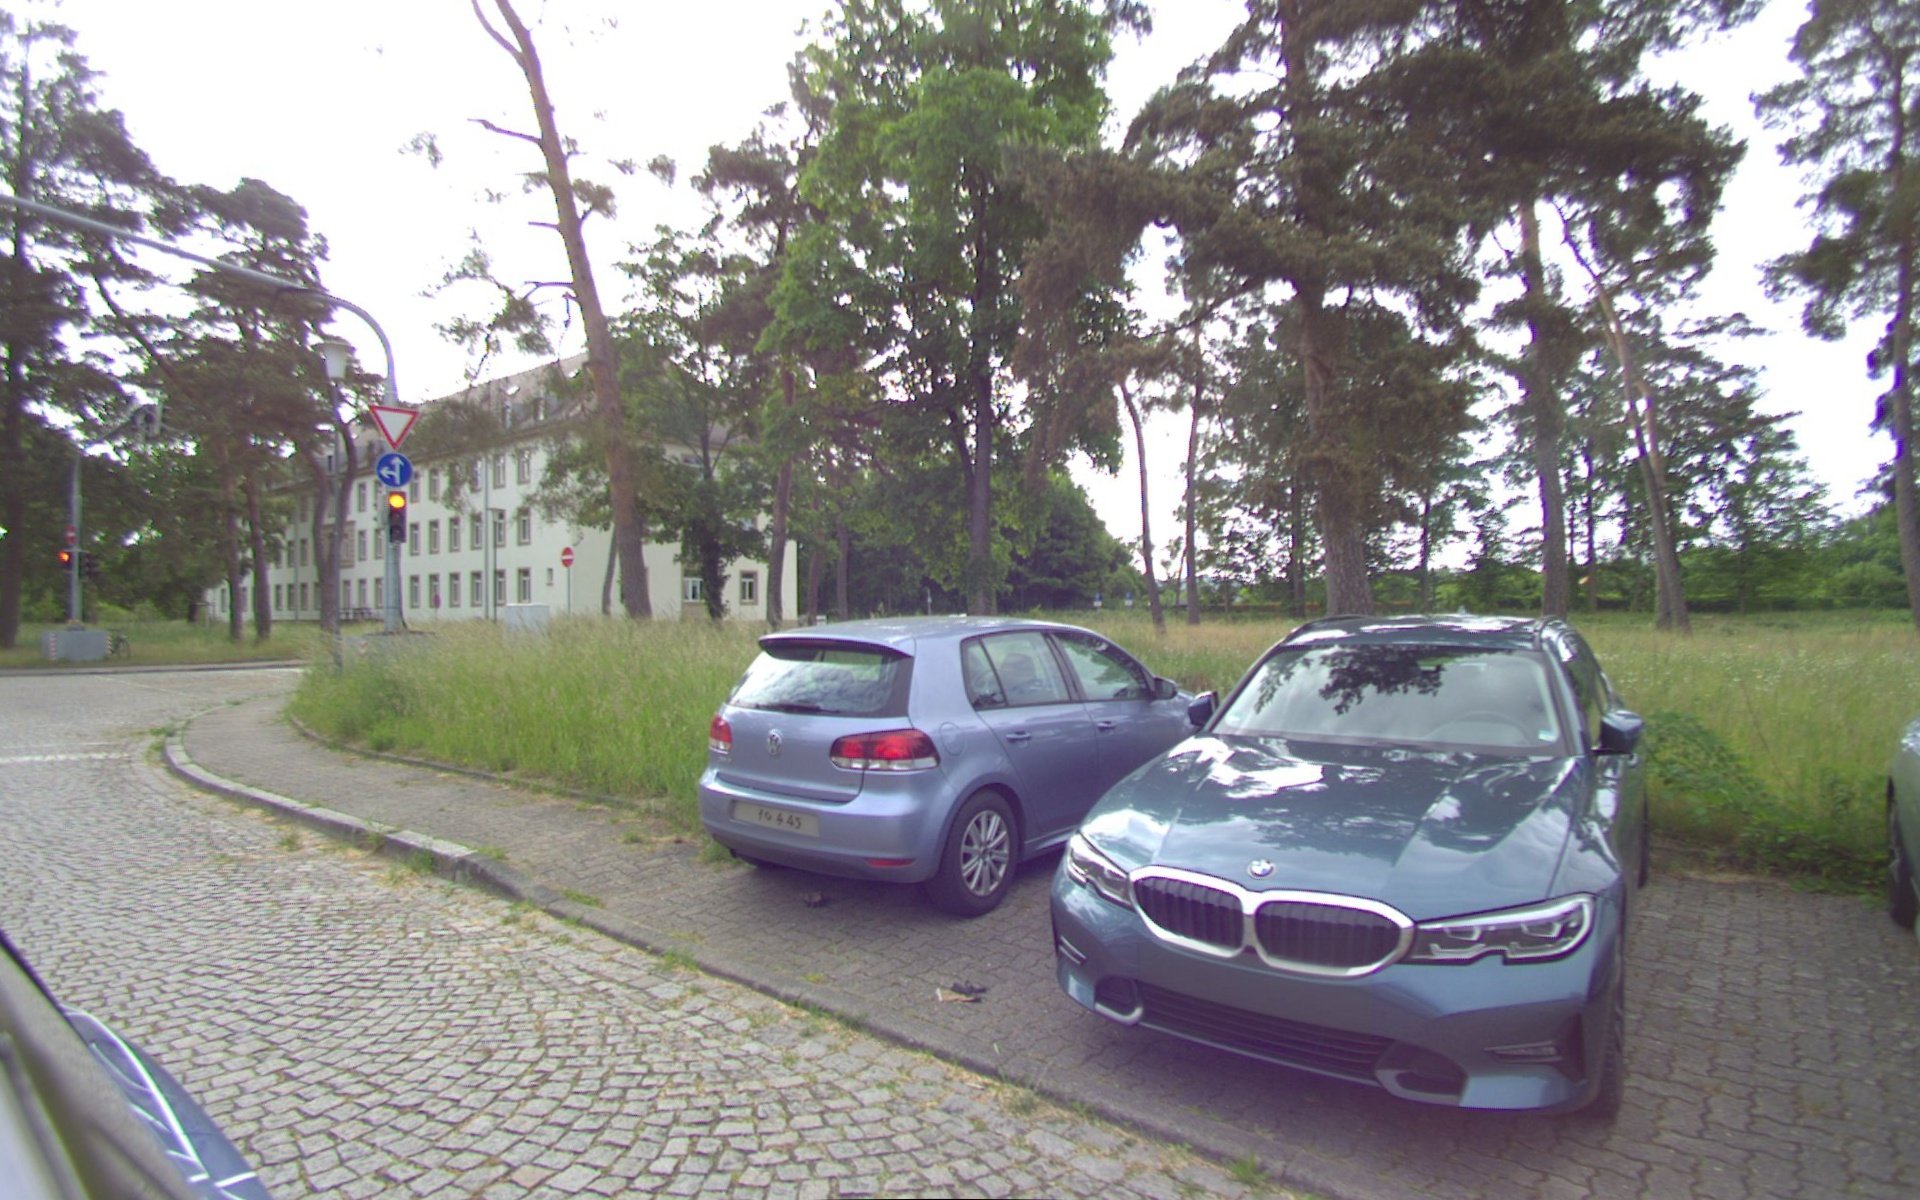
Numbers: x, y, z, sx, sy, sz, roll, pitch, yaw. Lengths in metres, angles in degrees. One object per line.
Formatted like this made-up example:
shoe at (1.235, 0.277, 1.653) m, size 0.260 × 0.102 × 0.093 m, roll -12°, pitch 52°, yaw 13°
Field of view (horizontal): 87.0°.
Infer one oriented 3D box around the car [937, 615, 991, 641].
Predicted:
car at (0.319, 2.020, 74.052) m, size 1.721 × 1.820 × 3.945 m, roll -2°, pitch -2°, yaw 41°

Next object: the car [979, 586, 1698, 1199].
car at (2.059, 0.792, 4.557) m, size 1.931 × 1.560 × 4.213 m, roll -1°, pitch -2°, yaw 35°

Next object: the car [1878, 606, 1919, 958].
car at (4.205, 0.755, 2.854) m, size 1.932 × 1.519 × 4.334 m, roll -1°, pitch -2°, yaw 37°

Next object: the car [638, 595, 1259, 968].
car at (0.219, 0.799, 6.401) m, size 1.902 × 1.555 × 3.949 m, roll -2°, pitch -2°, yaw 38°

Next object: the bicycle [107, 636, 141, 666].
bicycle at (-26.055, 1.577, 31.548) m, size 1.045 × 0.923 × 0.292 m, roll -1°, pitch -1°, yaw 18°
